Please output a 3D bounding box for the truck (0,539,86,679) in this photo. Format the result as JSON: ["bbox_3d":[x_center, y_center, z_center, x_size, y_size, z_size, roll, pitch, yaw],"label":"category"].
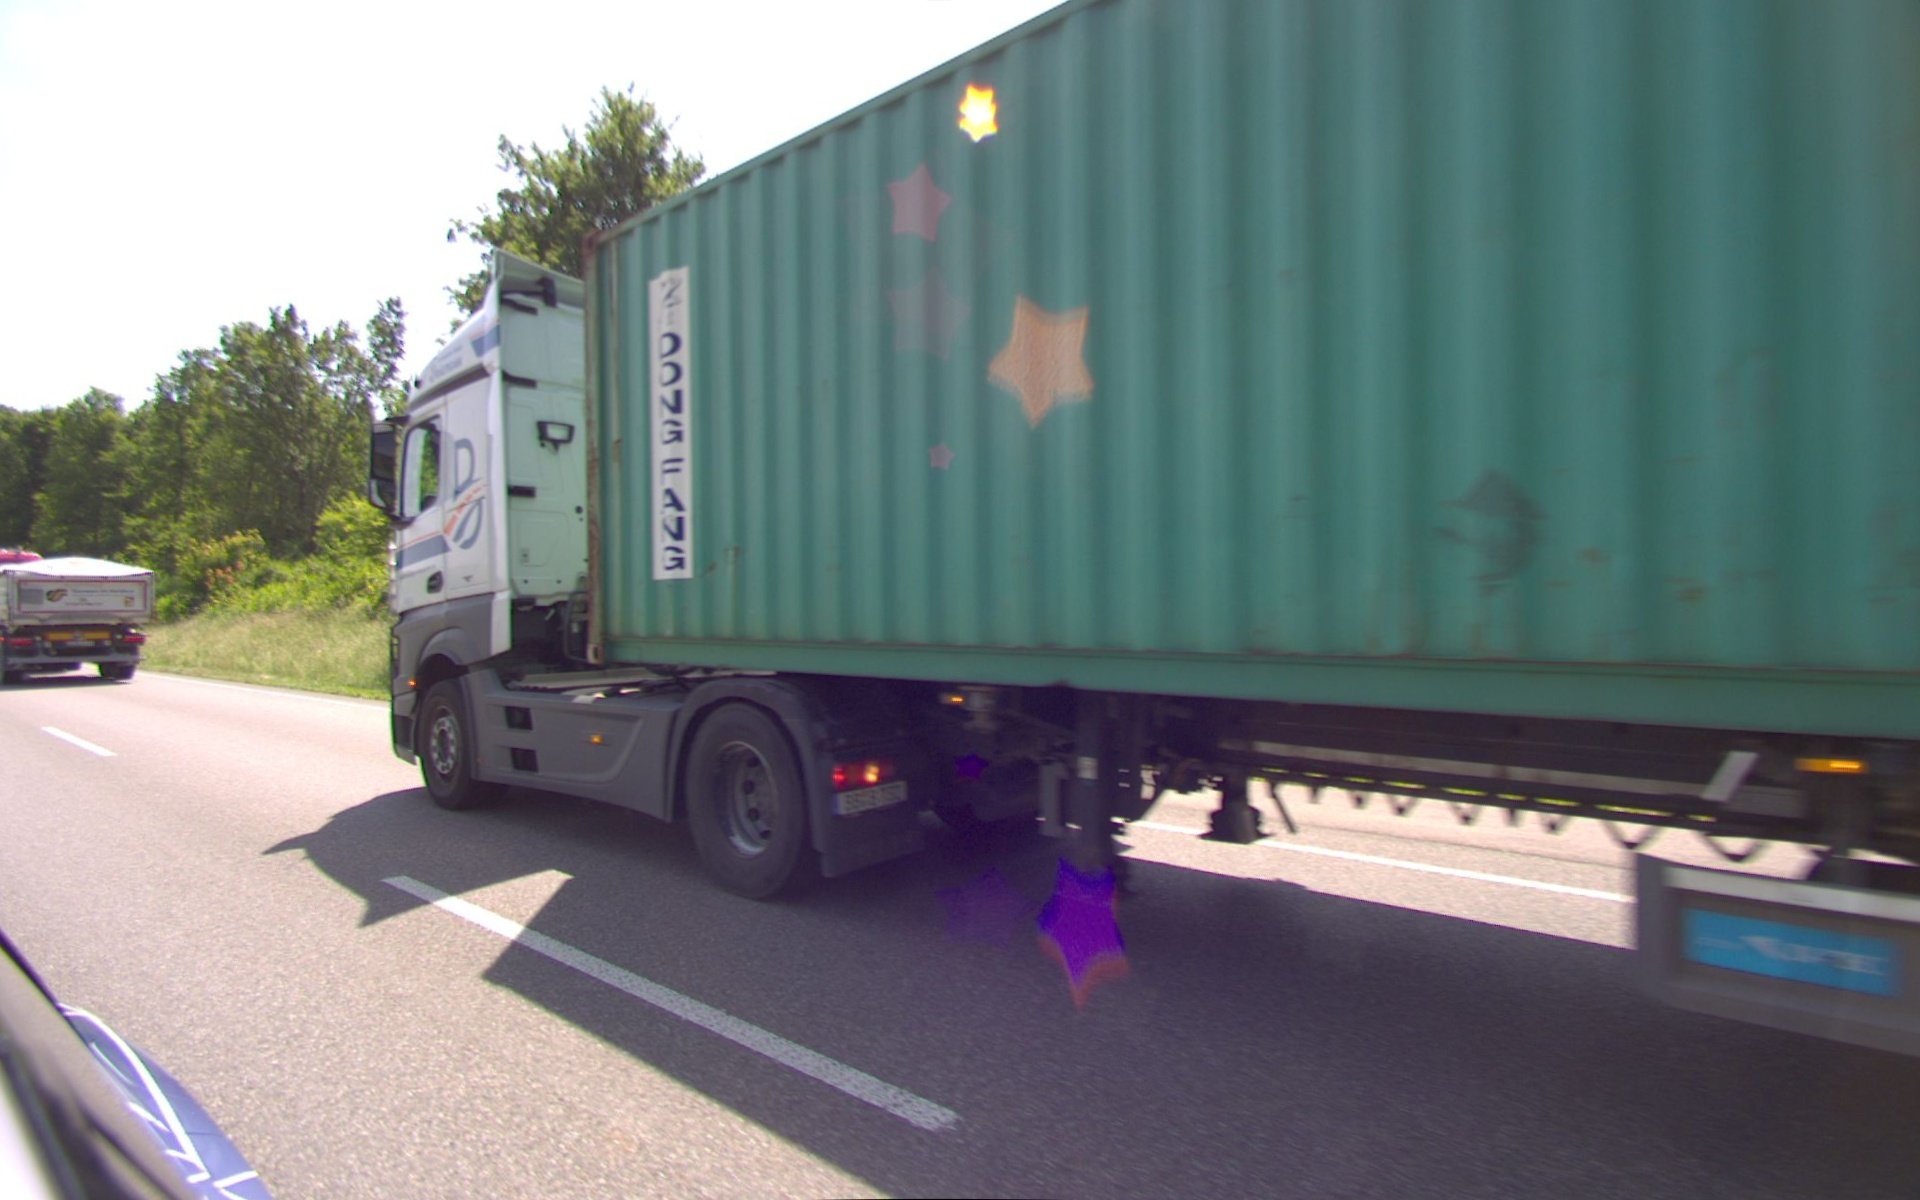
[{"bbox_3d":[-27.353,0.274,28.836,7.755,3.586,2.505,-1,-1,40],"label":"truck"}]

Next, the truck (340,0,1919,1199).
[{"bbox_3d":[1.665,-0.478,4.198,16.153,3.969,2.534,-2,0,41],"label":"truck"}]

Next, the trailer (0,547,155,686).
[{"bbox_3d":[-21.942,0.388,24.394,7.071,2.894,2.617,-1,-1,40],"label":"trailer"}]
